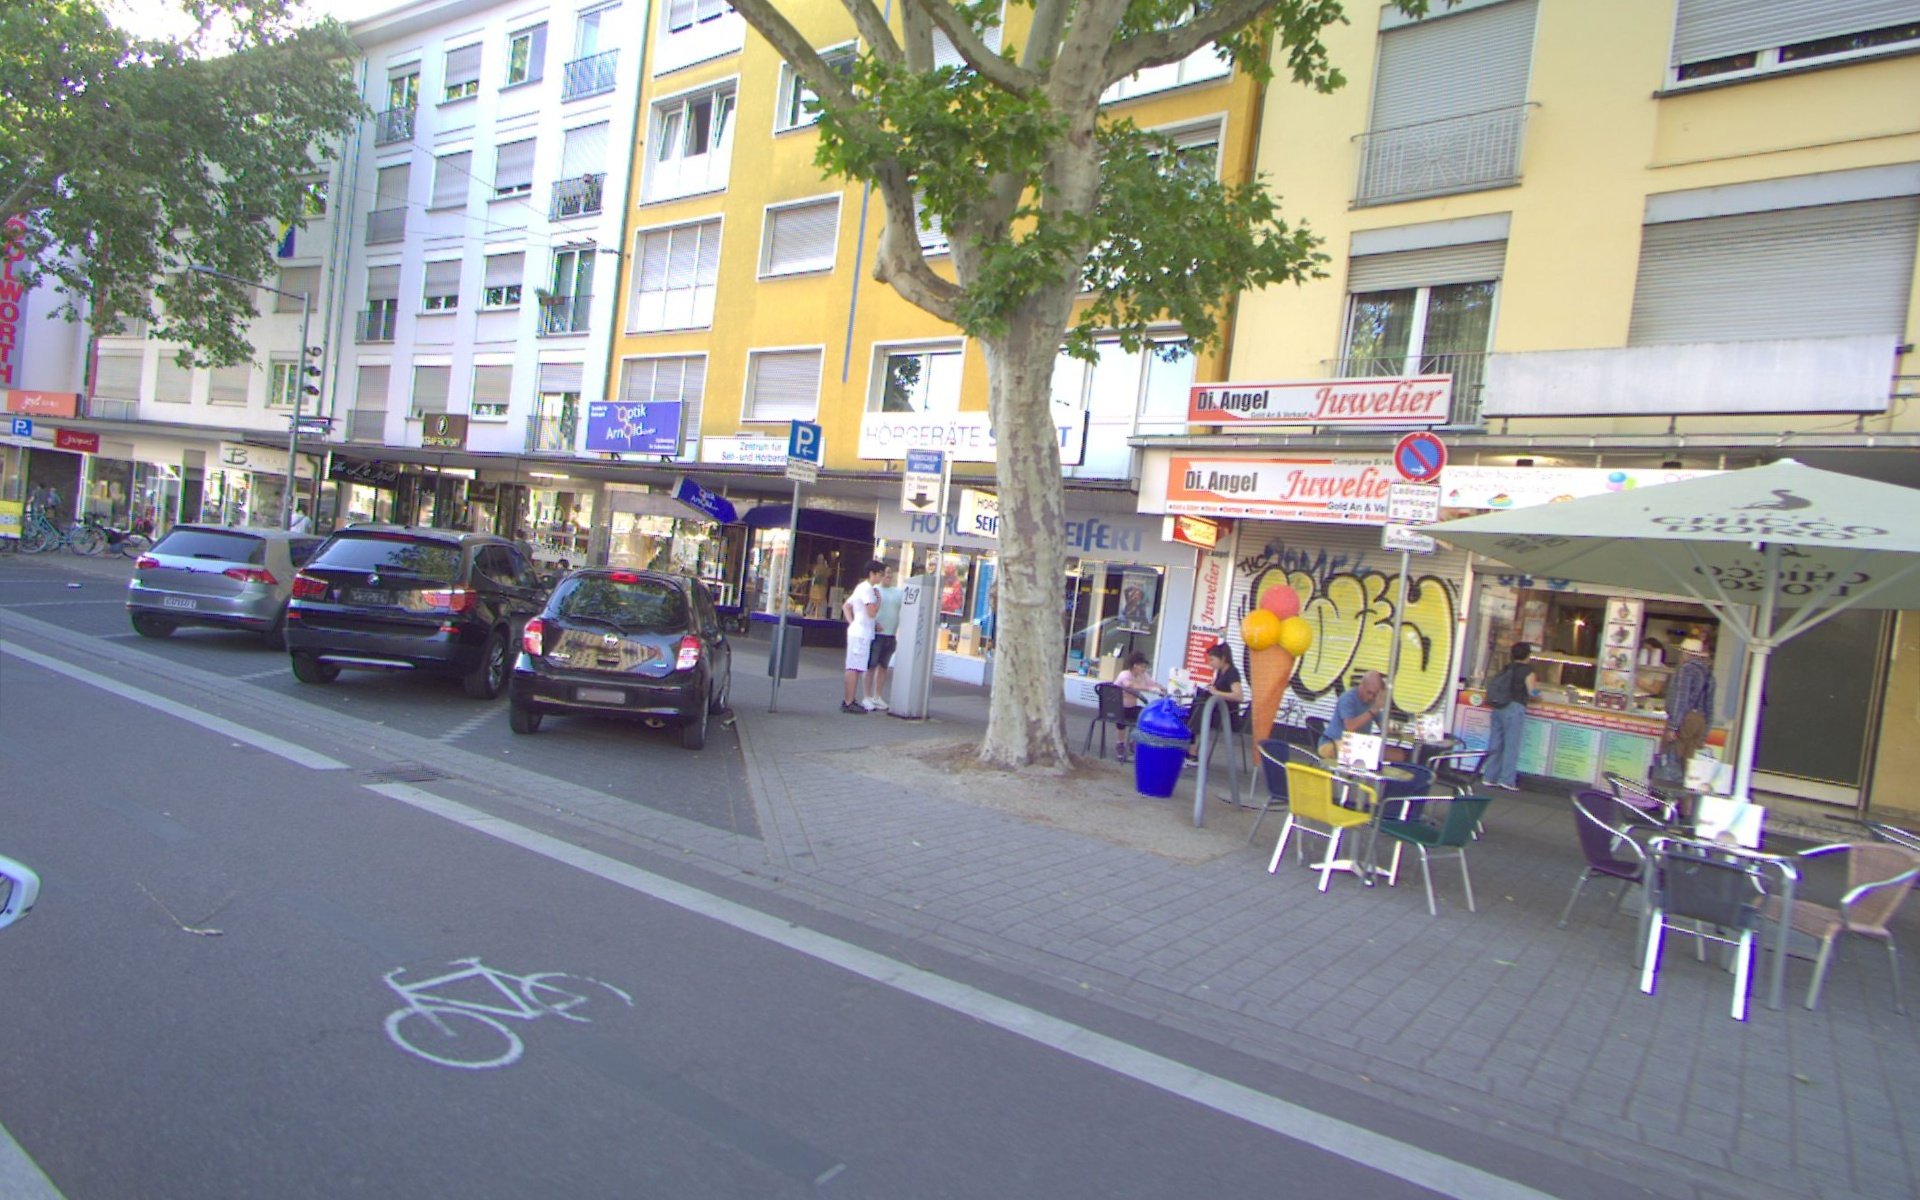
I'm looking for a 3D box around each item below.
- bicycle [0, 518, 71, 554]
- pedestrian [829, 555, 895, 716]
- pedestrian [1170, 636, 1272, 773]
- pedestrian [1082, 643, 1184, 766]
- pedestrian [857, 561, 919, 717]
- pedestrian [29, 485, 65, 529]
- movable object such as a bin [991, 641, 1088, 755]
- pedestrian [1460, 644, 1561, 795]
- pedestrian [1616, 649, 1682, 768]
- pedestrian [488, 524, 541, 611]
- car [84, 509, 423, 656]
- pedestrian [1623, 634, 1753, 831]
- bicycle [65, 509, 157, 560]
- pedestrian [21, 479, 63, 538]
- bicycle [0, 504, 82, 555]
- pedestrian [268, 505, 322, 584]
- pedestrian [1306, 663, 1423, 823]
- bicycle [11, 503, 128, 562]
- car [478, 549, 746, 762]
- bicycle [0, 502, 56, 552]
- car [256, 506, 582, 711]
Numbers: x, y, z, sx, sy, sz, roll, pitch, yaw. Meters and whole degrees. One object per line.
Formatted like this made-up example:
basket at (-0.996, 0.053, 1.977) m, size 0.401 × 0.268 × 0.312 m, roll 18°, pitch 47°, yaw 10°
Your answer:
bicycle at (-25.603, -1.784, 27.461) m, size 0.701 × 0.775 × 1.874 m, roll 9°, pitch 2°, yaw 40°
pedestrian at (-1.169, 0.419, 12.100) m, size 0.466 × 1.856 × 0.517 m, roll 6°, pitch 1°, yaw 13°
pedestrian at (2.716, 1.072, 10.458) m, size 0.746 × 1.290 × 0.584 m, roll 7°, pitch 0°, yaw 33°
pedestrian at (1.780, 1.068, 10.344) m, size 0.738 × 1.128 × 0.584 m, roll 7°, pitch 0°, yaw 33°
pedestrian at (-0.888, 0.478, 12.456) m, size 0.466 × 1.856 × 0.517 m, roll 6°, pitch 1°, yaw 10°
pedestrian at (-38.868, -3.970, 42.817) m, size 0.820 × 1.701 × 0.749 m, roll 9°, pitch 2°, yaw 26°
movable object such as a bin at (0.847, 0.995, 10.492) m, size 0.824 × 1.035 × 0.930 m, roll 7°, pitch -1°, yaw 8°
pedestrian at (6.080, 1.297, 11.129) m, size 0.618 × 1.568 × 0.633 m, roll 2°, pitch 3°, yaw -27°
pedestrian at (8.116, 1.265, 11.855) m, size 0.500 × 1.313 × 0.425 m, roll 7°, pitch 2°, yaw 36°
pedestrian at (-9.699, -0.708, 21.908) m, size 0.776 × 1.816 × 0.705 m, roll 7°, pitch 5°, yaw 38°
car at (-9.093, -0.209, 13.465) m, size 1.777 × 1.469 × 4.173 m, roll 6°, pitch 0°, yaw -5°
pedestrian at (7.166, 1.291, 9.922) m, size 0.628 × 1.827 × 0.623 m, roll 6°, pitch 1°, yaw -22°
bicycle at (-22.641, -1.738, 26.844) m, size 0.668 × 1.169 × 1.760 m, roll 7°, pitch 2°, yaw 40°
pedestrian at (-30.835, -3.067, 33.789) m, size 0.751 × 1.817 × 0.781 m, roll 7°, pitch 1°, yaw 32°
bicycle at (-24.229, -1.832, 26.297) m, size 0.660 × 1.205 × 1.787 m, roll 6°, pitch 3°, yaw 24°
pedestrian at (-16.871, -1.398, 25.512) m, size 0.809 × 1.900 × 0.644 m, roll 7°, pitch 1°, yaw 19°
pedestrian at (3.545, 1.220, 8.811) m, size 0.733 × 1.240 × 0.606 m, roll 7°, pitch 1°, yaw 33°
bicycle at (-22.746, -1.714, 25.730) m, size 0.818 × 1.249 × 2.079 m, roll 7°, pitch 1°, yaw 37°
car at (-3.191, 0.434, 9.946) m, size 1.712 × 1.560 × 3.602 m, roll 6°, pitch 0°, yaw -8°
bicycle at (-25.205, -1.956, 26.596) m, size 0.701 × 1.205 × 1.871 m, roll 7°, pitch 4°, yaw 40°
car at (-5.745, 0.059, 11.335) m, size 1.778 × 1.702 × 4.144 m, roll 6°, pitch 0°, yaw -8°
